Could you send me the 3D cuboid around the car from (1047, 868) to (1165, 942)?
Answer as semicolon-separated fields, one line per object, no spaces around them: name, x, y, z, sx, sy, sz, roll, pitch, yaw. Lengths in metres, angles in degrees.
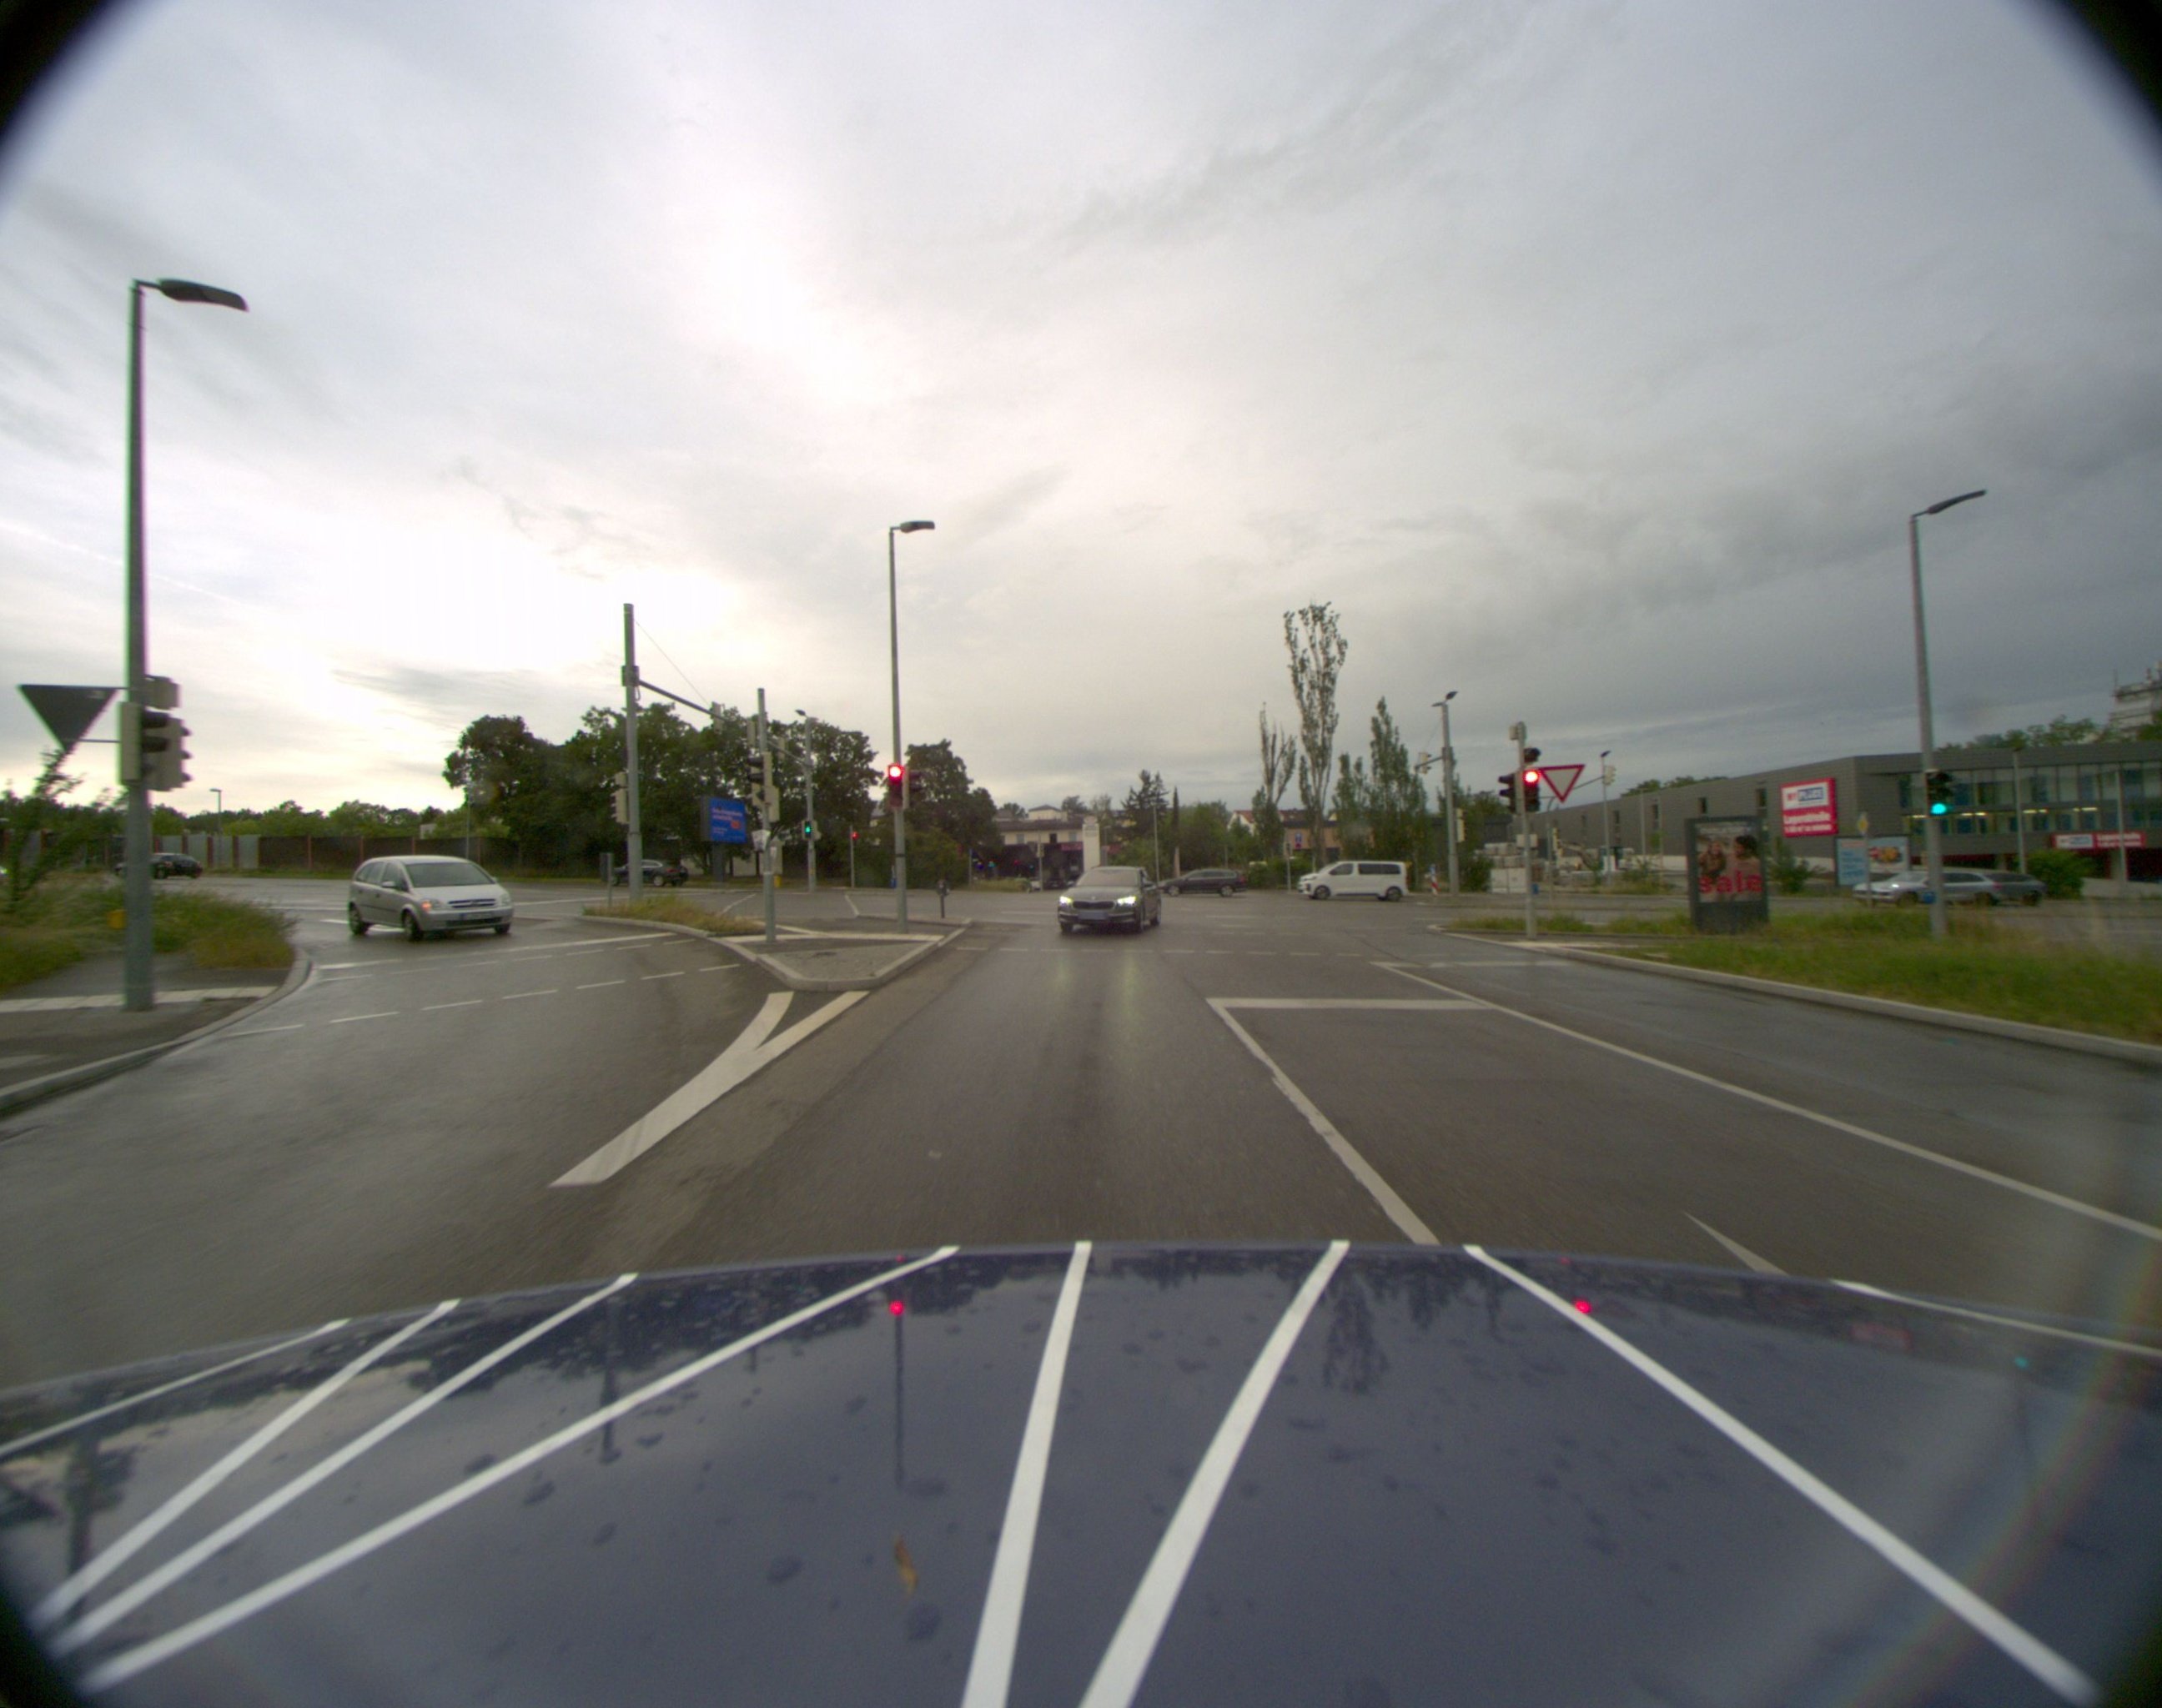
car;0.718;1.082;17.414;1.837;1.448;4.208;0;-1;14

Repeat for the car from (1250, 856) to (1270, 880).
car;17.893;1.431;76.212;1.744;2.301;5.228;1;-1;11

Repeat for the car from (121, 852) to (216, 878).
car;-54.499;0.644;45.399;3.822;1.491;1.727;1;-1;5

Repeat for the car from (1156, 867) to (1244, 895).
car;6.260;1.406;40.322;4.478;1.396;1.841;1;-1;5

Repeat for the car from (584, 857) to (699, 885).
car;-24.655;0.939;42.713;5.528;1.491;1.841;1;-1;5

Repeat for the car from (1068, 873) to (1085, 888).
car;-0.528;3.095;88.706;1.745;1.641;4.002;1;-1;2

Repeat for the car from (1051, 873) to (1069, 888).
car;-2.453;3.095;88.923;1.745;1.641;4.002;1;-1;2

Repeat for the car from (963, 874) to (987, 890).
car;-10.985;2.909;79.041;1.745;1.641;4.002;1;-1;2

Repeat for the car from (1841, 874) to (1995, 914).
car;37.513;1.756;34.161;4.620;1.692;1.841;1;-1;6

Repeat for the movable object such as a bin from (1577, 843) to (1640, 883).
movable object such as a bin;36.006;0.619;51.930;2.997;2.611;1.929;1;-1;-1

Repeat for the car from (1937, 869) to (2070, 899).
car;44.958;1.445;37.091;4.038;1.396;1.841;1;-1;5

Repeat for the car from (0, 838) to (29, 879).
car;-46.081;0.153;30.976;3.996;1.664;1.824;1;-1;3

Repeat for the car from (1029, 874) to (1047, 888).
car;-5.013;3.185;89.407;1.745;1.641;4.002;1;-1;2

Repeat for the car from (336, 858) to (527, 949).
car;-13.569;0.927;15.833;4.052;1.595;1.826;0;2;32

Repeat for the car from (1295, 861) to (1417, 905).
car;13.049;1.371;36.338;5.188;2.022;1.841;1;-1;4
